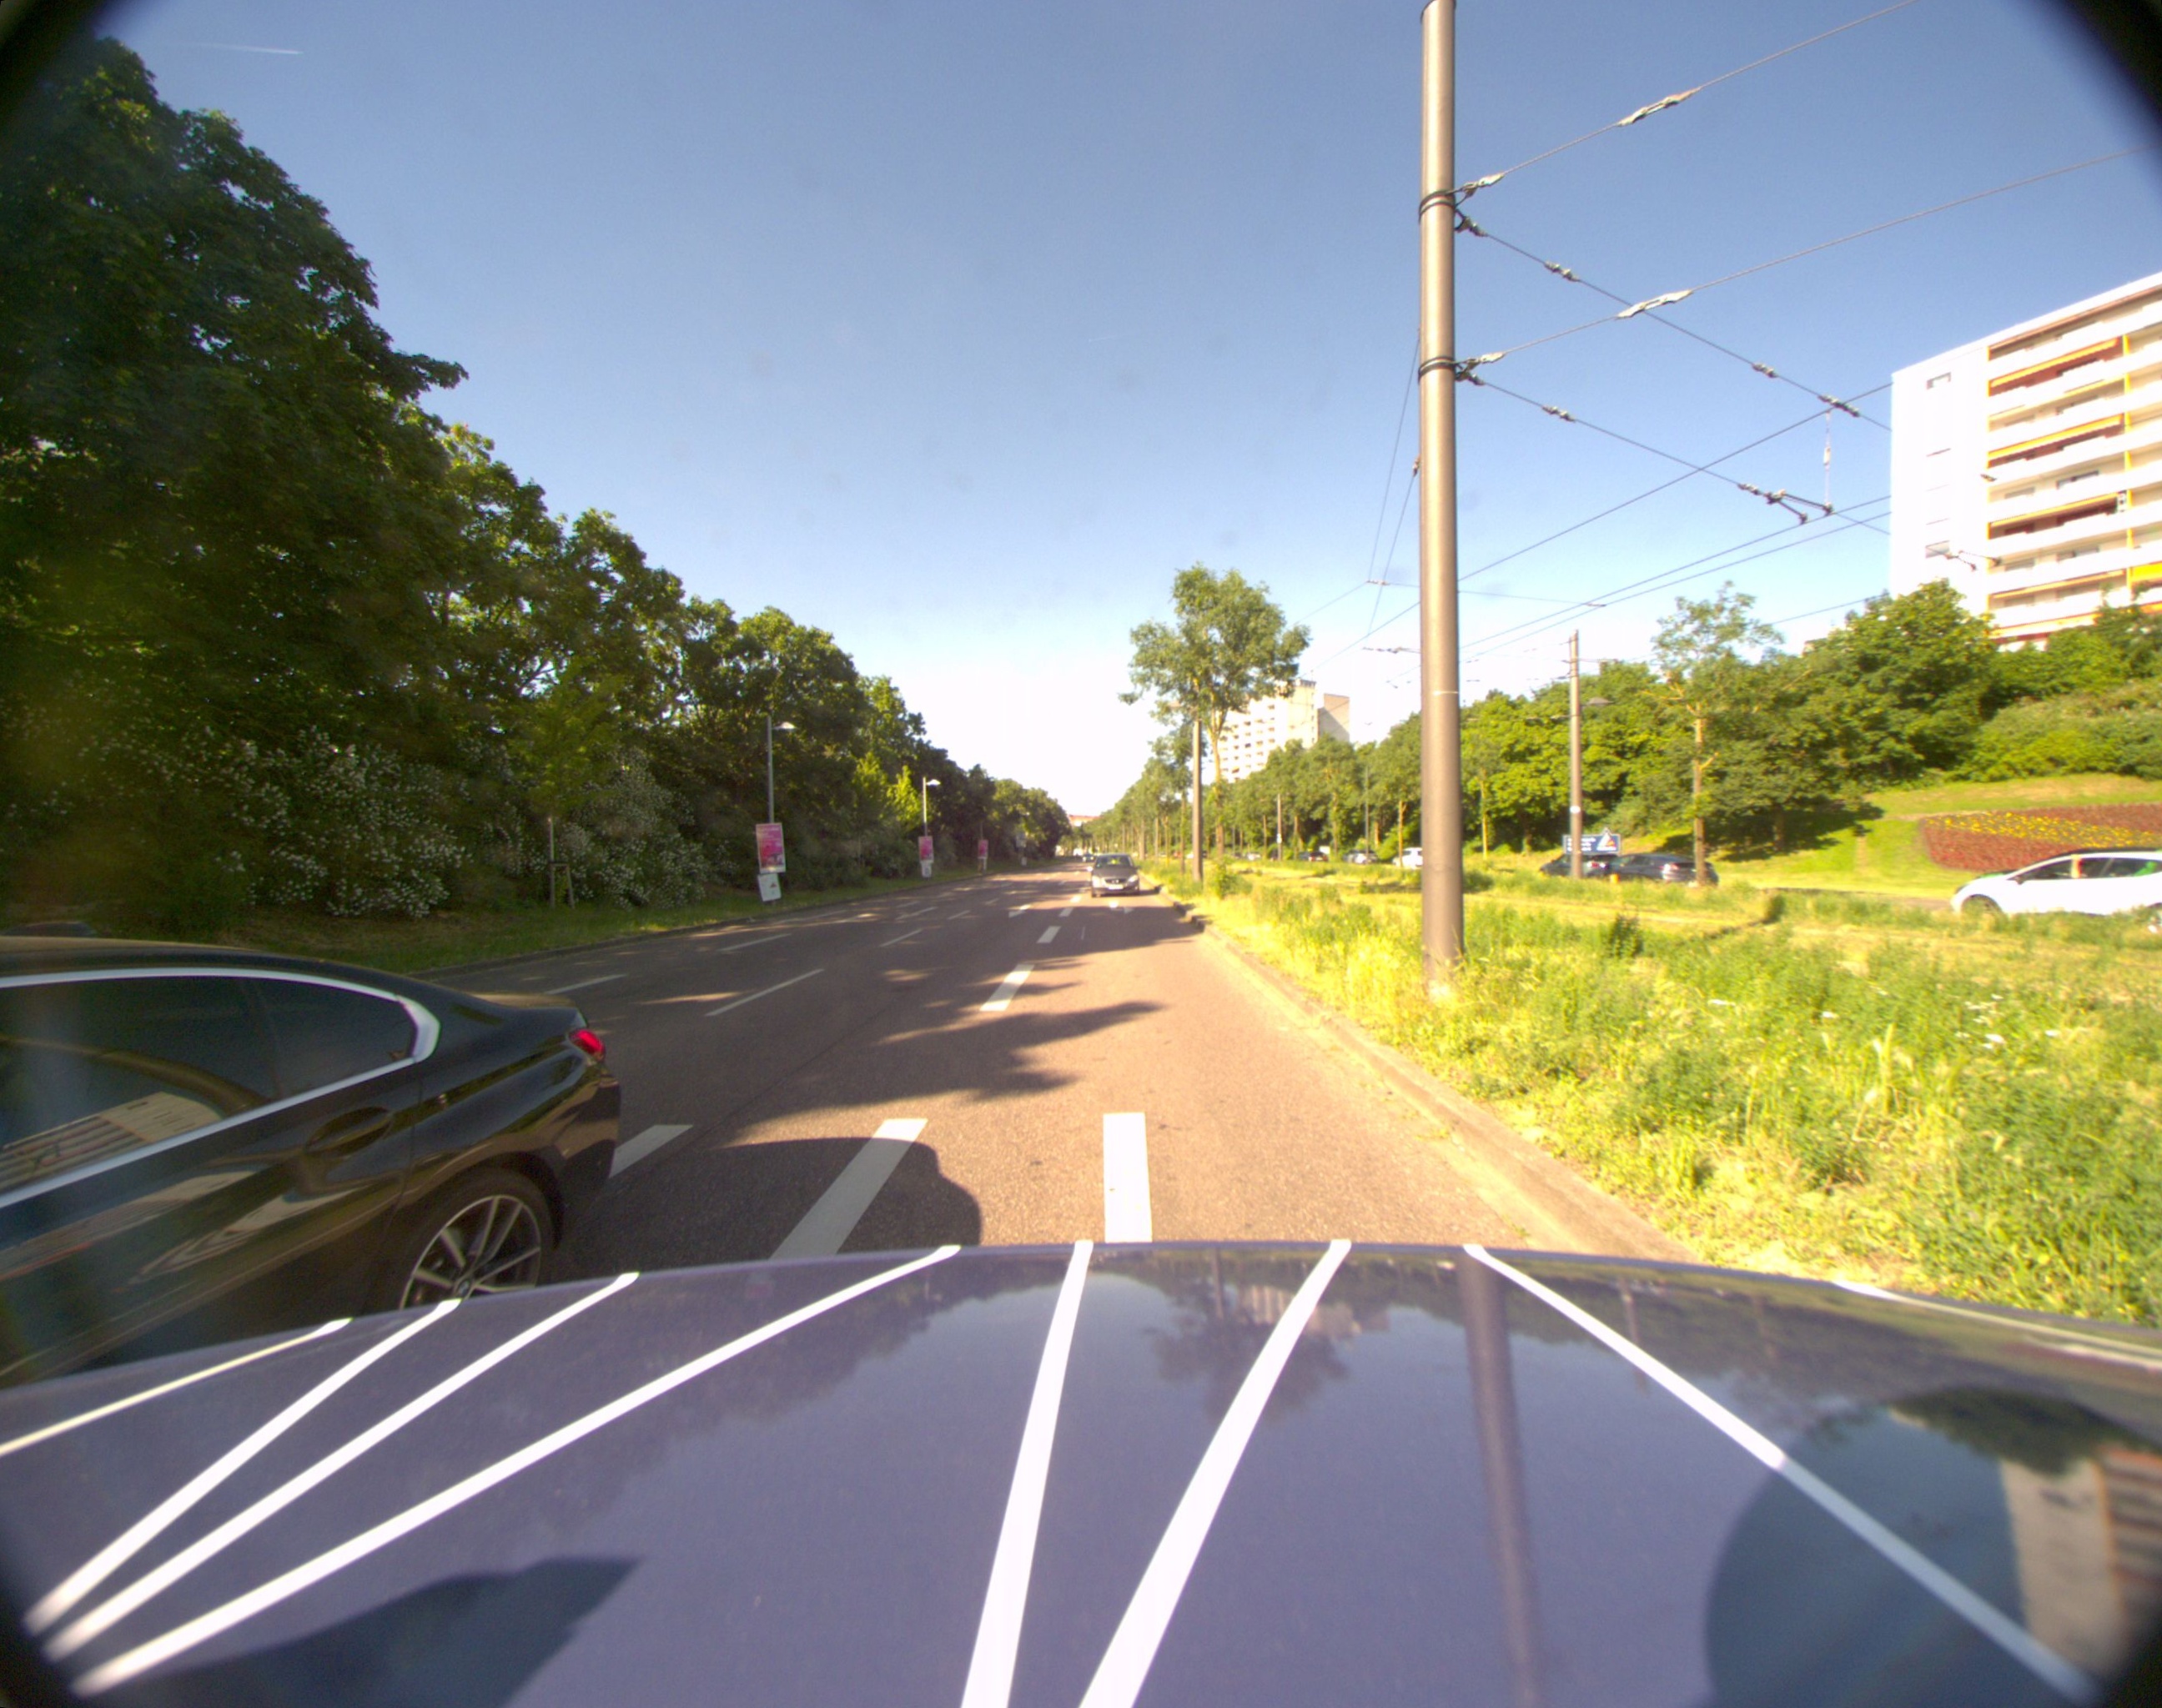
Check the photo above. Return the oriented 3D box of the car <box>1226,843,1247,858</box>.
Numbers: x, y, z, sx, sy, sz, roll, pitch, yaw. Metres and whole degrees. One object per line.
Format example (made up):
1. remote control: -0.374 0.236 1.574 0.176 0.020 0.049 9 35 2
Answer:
1. car: 19.545 -0.432 95.784 1.882 1.755 4.000 -1 0 1

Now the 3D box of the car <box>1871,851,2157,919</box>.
1. car: 21.625 0.643 17.925 1.867 1.410 4.000 -1 0 1

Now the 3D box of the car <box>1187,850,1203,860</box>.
1. car: 18.534 0.174 123.638 1.909 1.652 3.999 -1 0 -2

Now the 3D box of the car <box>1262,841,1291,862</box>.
1. car: 20.067 -0.255 78.177 1.998 2.002 4.000 -1 0 1

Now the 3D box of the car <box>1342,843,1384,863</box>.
1. car: 23.095 -0.091 62.430 1.998 1.477 4.000 -1 0 1

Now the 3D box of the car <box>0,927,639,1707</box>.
1. car: -2.723 1.001 0.721 1.874 1.390 4.443 -1 0 2

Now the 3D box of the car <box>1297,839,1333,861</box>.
1. car: 19.633 -0.337 63.941 1.882 1.755 4.000 -1 0 1

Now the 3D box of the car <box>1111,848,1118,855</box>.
1. car: 10.536 -0.785 241.578 1.998 2.002 4.000 -1 0 1

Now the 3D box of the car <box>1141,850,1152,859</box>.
1. car: 15.203 0.157 176.146 1.942 2.002 3.999 -1 0 -2

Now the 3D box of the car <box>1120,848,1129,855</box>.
1. car: 11.664 -0.643 205.112 1.999 2.002 3.998 -1 0 -3

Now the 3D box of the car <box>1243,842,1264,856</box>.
1. car: 22.819 -0.608 100.467 1.882 1.755 4.000 -1 0 1

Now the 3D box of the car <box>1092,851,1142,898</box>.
1. car: 1.290 0.718 28.747 1.759 1.612 3.880 -1 0 1

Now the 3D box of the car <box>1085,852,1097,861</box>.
1. car: 1.636 0.333 123.135 1.876 1.428 4.594 -1 0 2

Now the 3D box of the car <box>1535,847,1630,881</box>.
1. car: 22.004 0.410 33.532 1.740 1.368 4.001 -1 0 4

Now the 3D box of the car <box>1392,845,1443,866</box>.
1. car: 22.936 0.096 51.897 1.847 1.390 4.000 -1 0 2

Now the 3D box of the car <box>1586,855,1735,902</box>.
1. car: 18.859 0.730 25.001 1.825 1.353 4.230 -1 0 3

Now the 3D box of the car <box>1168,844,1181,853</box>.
1. car: 18.825 -1.055 153.239 1.883 1.755 3.998 -1 0 -4

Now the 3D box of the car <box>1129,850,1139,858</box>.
1. car: 13.722 -0.004 195.616 1.942 2.002 3.998 -1 0 -4

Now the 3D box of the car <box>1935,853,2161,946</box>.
1. car: 18.033 0.717 13.269 1.867 1.410 4.000 -1 0 3
